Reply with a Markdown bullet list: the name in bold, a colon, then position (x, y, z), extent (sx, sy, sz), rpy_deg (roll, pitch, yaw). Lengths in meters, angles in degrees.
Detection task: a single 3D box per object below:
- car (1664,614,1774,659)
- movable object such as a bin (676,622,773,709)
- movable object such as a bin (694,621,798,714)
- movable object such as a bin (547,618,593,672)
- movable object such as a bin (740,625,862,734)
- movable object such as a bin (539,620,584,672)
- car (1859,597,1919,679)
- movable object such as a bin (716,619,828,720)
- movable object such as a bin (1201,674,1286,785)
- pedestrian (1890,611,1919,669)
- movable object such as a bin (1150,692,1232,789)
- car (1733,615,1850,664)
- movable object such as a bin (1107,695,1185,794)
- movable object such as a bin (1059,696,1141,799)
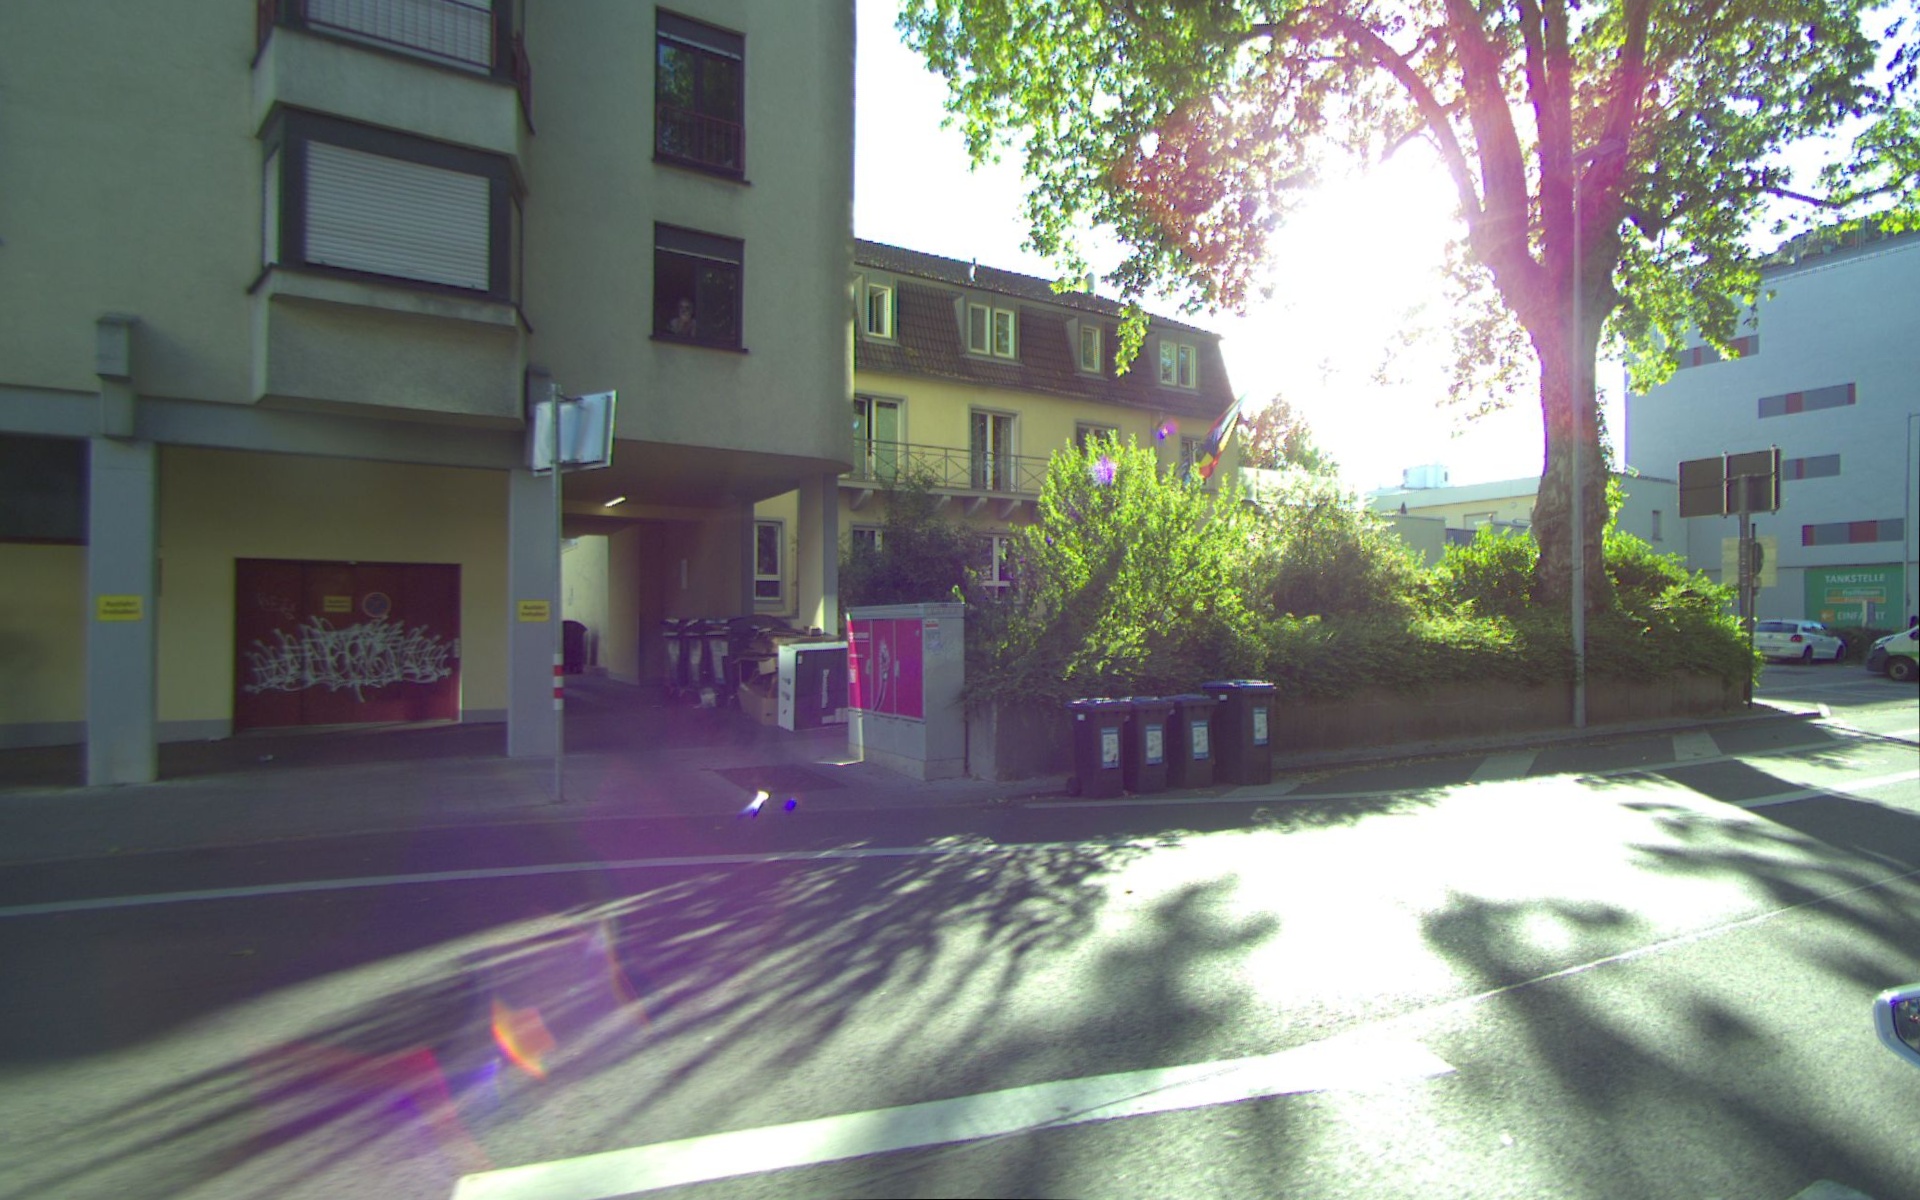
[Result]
- **car**: position (27.175, 1.259, 35.934), extent (3.953, 1.484, 1.781), rpy_deg (1, 1, -31)
- **movable object such as a bin**: position (-4.095, 1.101, 17.428), extent (1.351, 1.361, 1.181), rpy_deg (1, 3, -30)
- **movable object such as a bin**: position (-3.502, 1.066, 16.388), extent (1.351, 1.361, 1.181), rpy_deg (1, 3, -30)
- **movable object such as a bin**: position (-10.769, 1.229, 27.718), extent (1.042, 1.361, 1.012), rpy_deg (1, 3, -30)
- **movable object such as a bin**: position (-2.263, 1.080, 14.197), extent (1.351, 1.361, 1.181), rpy_deg (1, 3, -30)
- **movable object such as a bin**: position (-11.480, 1.307, 28.893), extent (1.068, 1.361, 1.012), rpy_deg (1, 3, -30)
- **car**: position (27.806, 1.073, 27.145), extent (2.115, 2.246, 4.821), rpy_deg (1, 0, -30)
- **movable object such as a bin**: position (-2.870, 1.013, 15.276), extent (1.351, 1.361, 1.181), rpy_deg (1, 3, -30)
- **movable object such as a bin**: position (3.014, 1.355, 10.679), extent (0.637, 1.085, 0.591), rpy_deg (1, -1, -30)
- **pedestrian**: position (30.334, 1.265, 32.163), extent (0.714, 1.813, 0.628), rpy_deg (0, -1, -31)
- **movable object such as a bin**: position (2.393, 1.443, 10.434), extent (0.637, 0.913, 0.539), rpy_deg (1, -2, -30)
- **car**: position (27.851, 1.278, 33.614), extent (3.953, 1.484, 1.781), rpy_deg (1, 1, -31)
- **movable object such as a bin**: position (1.870, 1.436, 10.120), extent (0.552, 0.913, 0.539), rpy_deg (1, -2, -30)
- **movable object such as a bin**: position (1.367, 1.423, 9.820), extent (0.597, 0.913, 0.539), rpy_deg (1, -2, -30)
